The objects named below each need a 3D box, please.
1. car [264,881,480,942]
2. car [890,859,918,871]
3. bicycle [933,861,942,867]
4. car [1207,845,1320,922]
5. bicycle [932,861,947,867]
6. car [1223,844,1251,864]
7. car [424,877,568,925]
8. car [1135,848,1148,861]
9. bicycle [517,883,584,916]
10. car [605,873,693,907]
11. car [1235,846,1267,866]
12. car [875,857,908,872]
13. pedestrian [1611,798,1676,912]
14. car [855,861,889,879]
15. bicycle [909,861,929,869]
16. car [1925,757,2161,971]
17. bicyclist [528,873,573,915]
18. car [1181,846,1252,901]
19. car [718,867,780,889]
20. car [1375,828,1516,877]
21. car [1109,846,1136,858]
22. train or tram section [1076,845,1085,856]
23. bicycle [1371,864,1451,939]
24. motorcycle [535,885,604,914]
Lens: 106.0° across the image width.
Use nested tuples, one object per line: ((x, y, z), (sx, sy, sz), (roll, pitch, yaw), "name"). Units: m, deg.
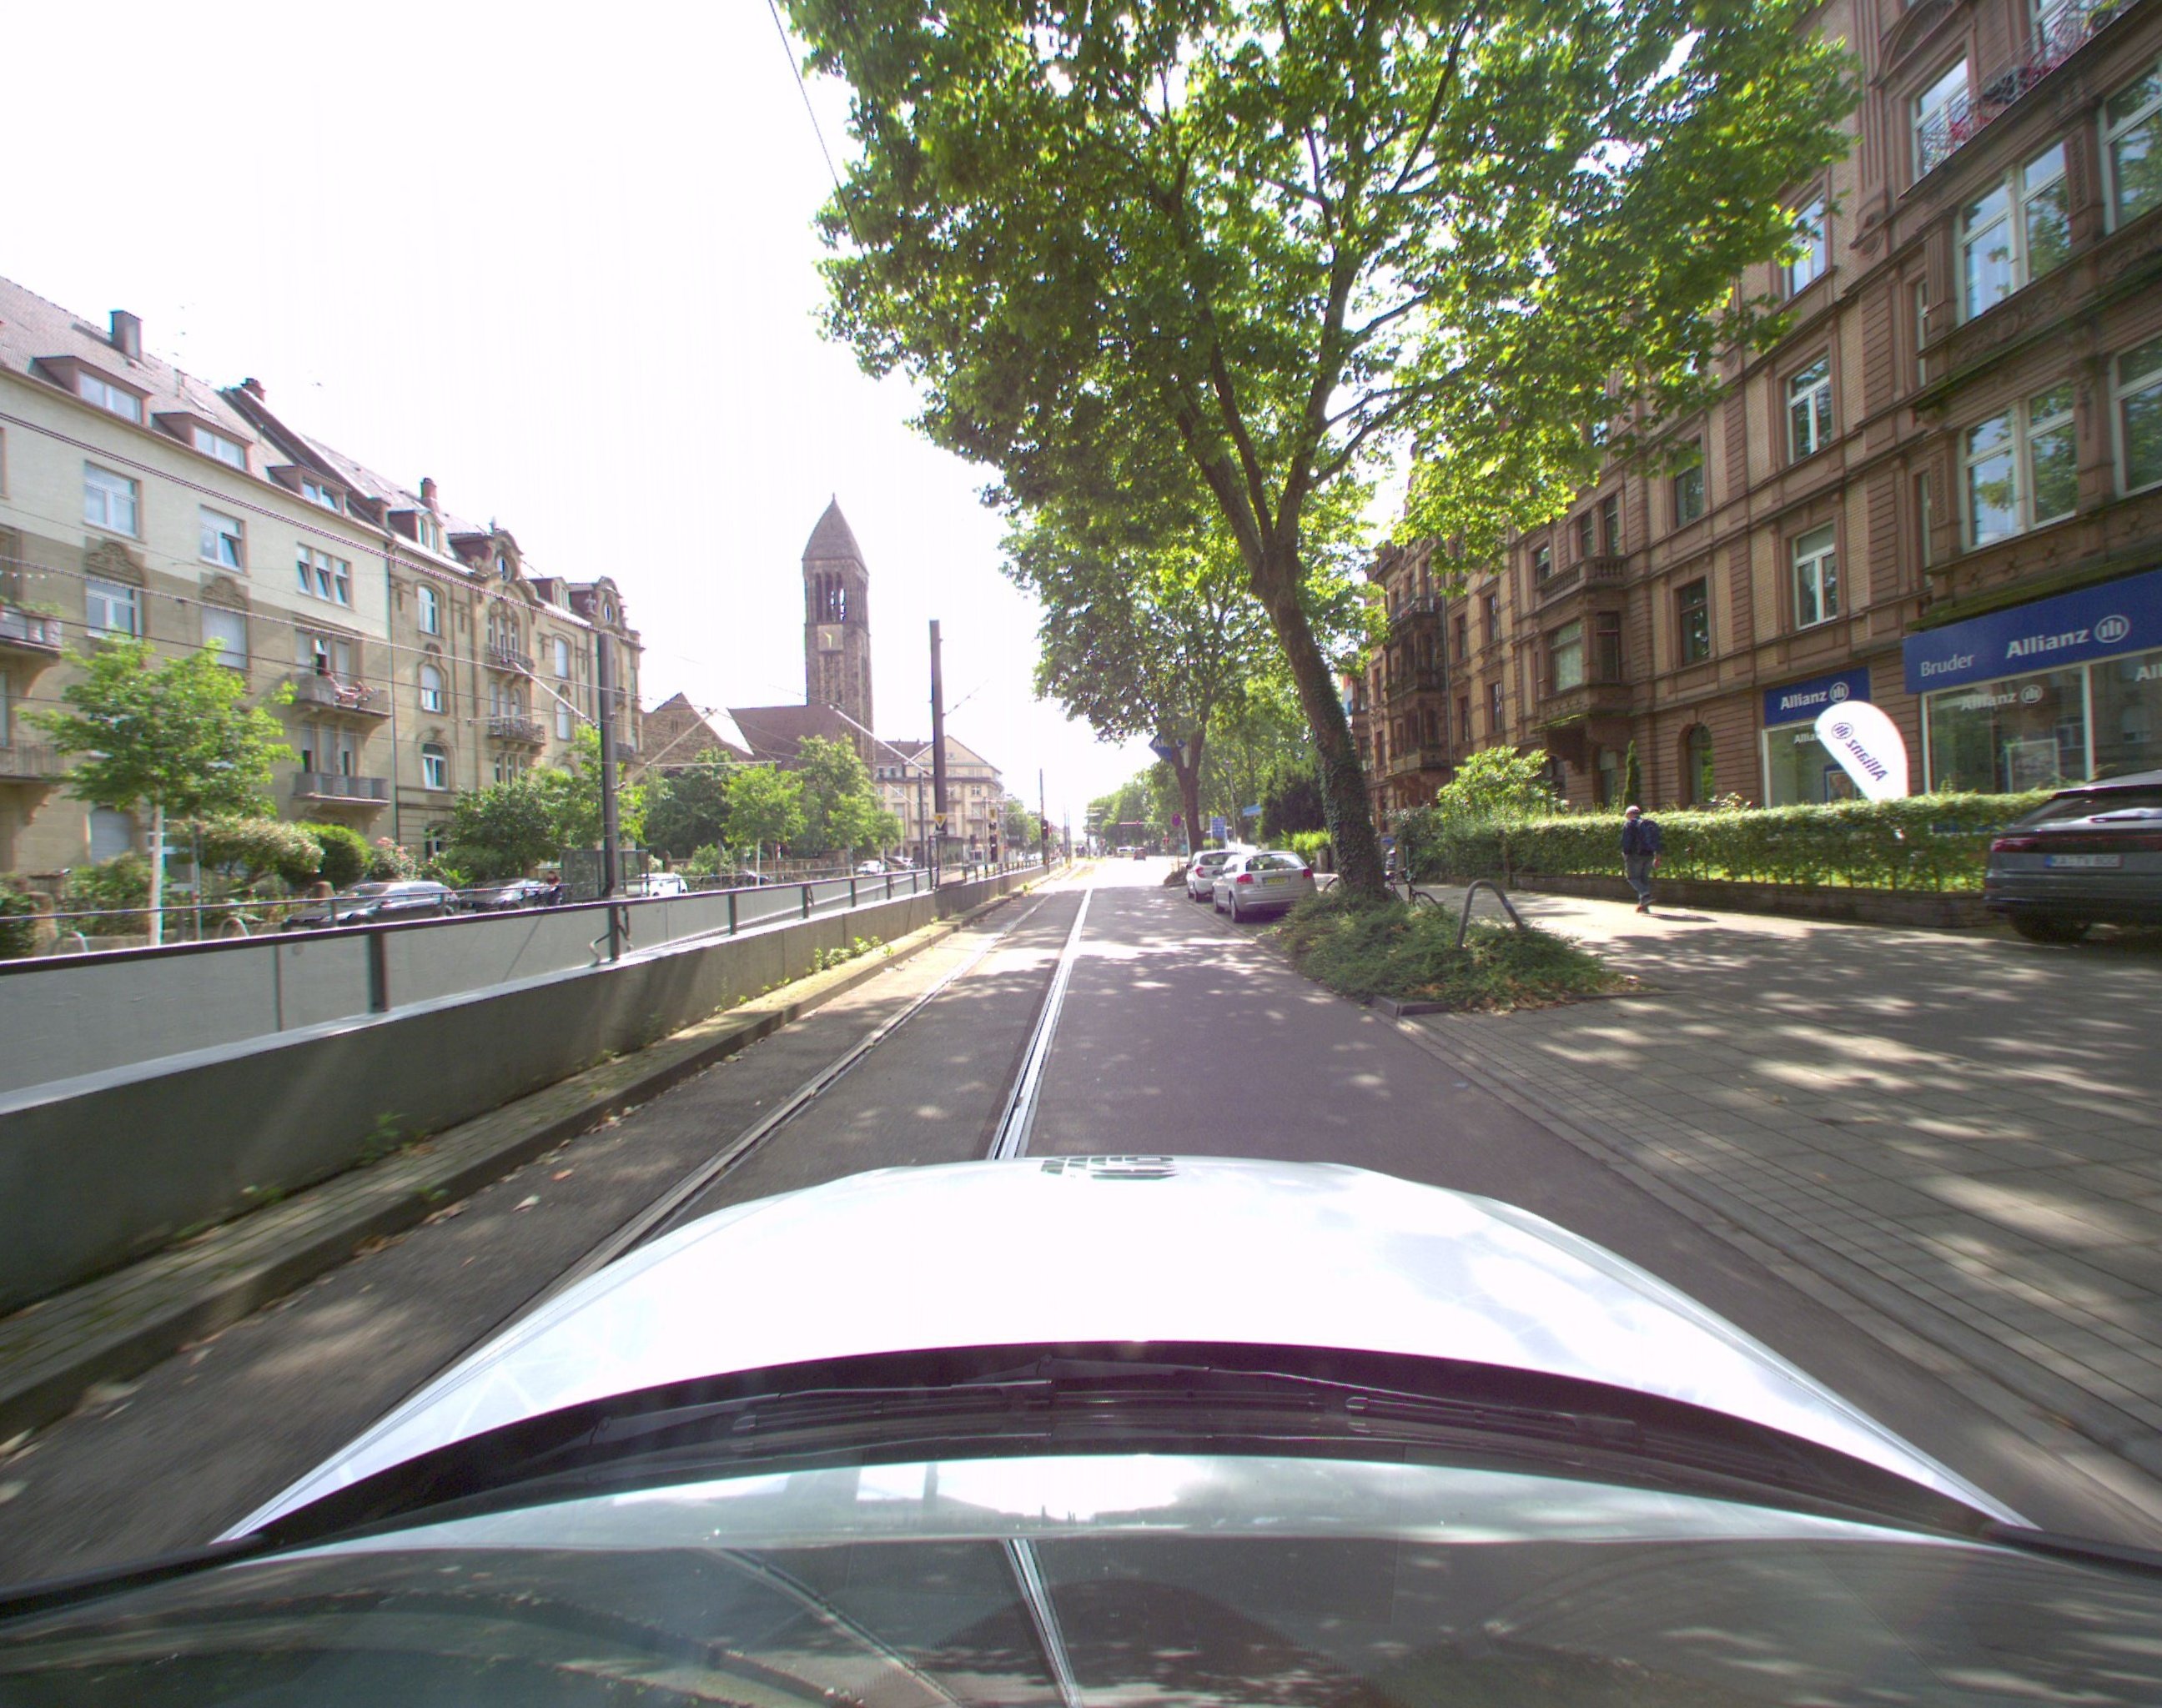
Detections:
((-20.230, 1.574, 23.583), (1.941, 1.327, 4.728), (-2, 0, 2), "car")
((-23.948, 1.492, 110.140), (3.255, 1.502, 1.854), (-2, 0, 0), "car")
((-25.586, 1.766, 144.880), (0.808, 1.053, 2.543), (-2, 0, -27), "bicycle")
((3.905, 0.575, 18.038), (1.672, 1.444, 3.859), (-3, 0, 1), "car")
((-24.884, 1.750, 143.312), (2.571, 1.053, 0.676), (-2, 0, -26), "bicycle")
((13.840, -0.007, 72.493), (1.798, 1.602, 4.586), (-2, 0, 3), "car")
((-20.267, 1.580, 28.472), (2.013, 1.327, 4.099), (-2, 0, -1), "car")
((8.457, 0.071, 114.130), (1.743, 1.808, 3.476), (-1, 0, 2), "car")
((-18.322, 1.549, 28.200), (0.773, 0.979, 2.142), (-4, 0, 2), "bicycle")
((-19.977, 1.618, 37.889), (1.746, 1.328, 4.312), (-3, 0, 0), "car")
((13.579, 0.144, 65.300), (1.799, 1.455, 4.002), (-2, 0, 1), "car")
((-24.825, 1.378, 106.875), (3.859, 1.748, 1.894), (-2, 0, -2), "car")
((9.135, 0.009, 13.251), (0.562, 1.786, 0.630), (-2, 0, 1), "pedestrian")
((-19.225, 1.418, 74.949), (1.925, 1.504, 4.413), (-2, 0, 0), "car")
((-28.322, 1.941, 142.498), (3.283, 1.253, 1.003), (-2, 0, 18), "bicycle")
((11.312, -0.116, 7.786), (4.716, 1.782, 2.001), (-5, 0, -7), "car")
((-18.303, 1.373, 28.108), (0.765, 1.337, 1.049), (-4, 0, 2), "bicyclist")
((4.083, 0.550, 25.024), (1.548, 1.485, 3.859), (-2, 0, 1), "car")
((-25.614, 1.859, 62.872), (3.947, 1.464, 1.724), (-3, 0, 1), "car")
((13.195, -0.052, 29.656), (4.219, 1.469, 1.942), (-4, 0, 1), "car")
((7.610, -0.372, 149.875), (4.707, 1.859, 2.005), (-2, 0, 8), "car")
((-0.207, -1.043, 251.442), (2.232, 3.331, 12.978), (-2, 0, 2), "train or tram section")
((4.943, 0.684, 12.276), (0.578, 1.020, 1.322), (-2, 0, -4), "bicycle")
((-20.205, 1.776, 32.198), (1.755, 0.941, 1.418), (-4, 0, 0), "motorcycle")
